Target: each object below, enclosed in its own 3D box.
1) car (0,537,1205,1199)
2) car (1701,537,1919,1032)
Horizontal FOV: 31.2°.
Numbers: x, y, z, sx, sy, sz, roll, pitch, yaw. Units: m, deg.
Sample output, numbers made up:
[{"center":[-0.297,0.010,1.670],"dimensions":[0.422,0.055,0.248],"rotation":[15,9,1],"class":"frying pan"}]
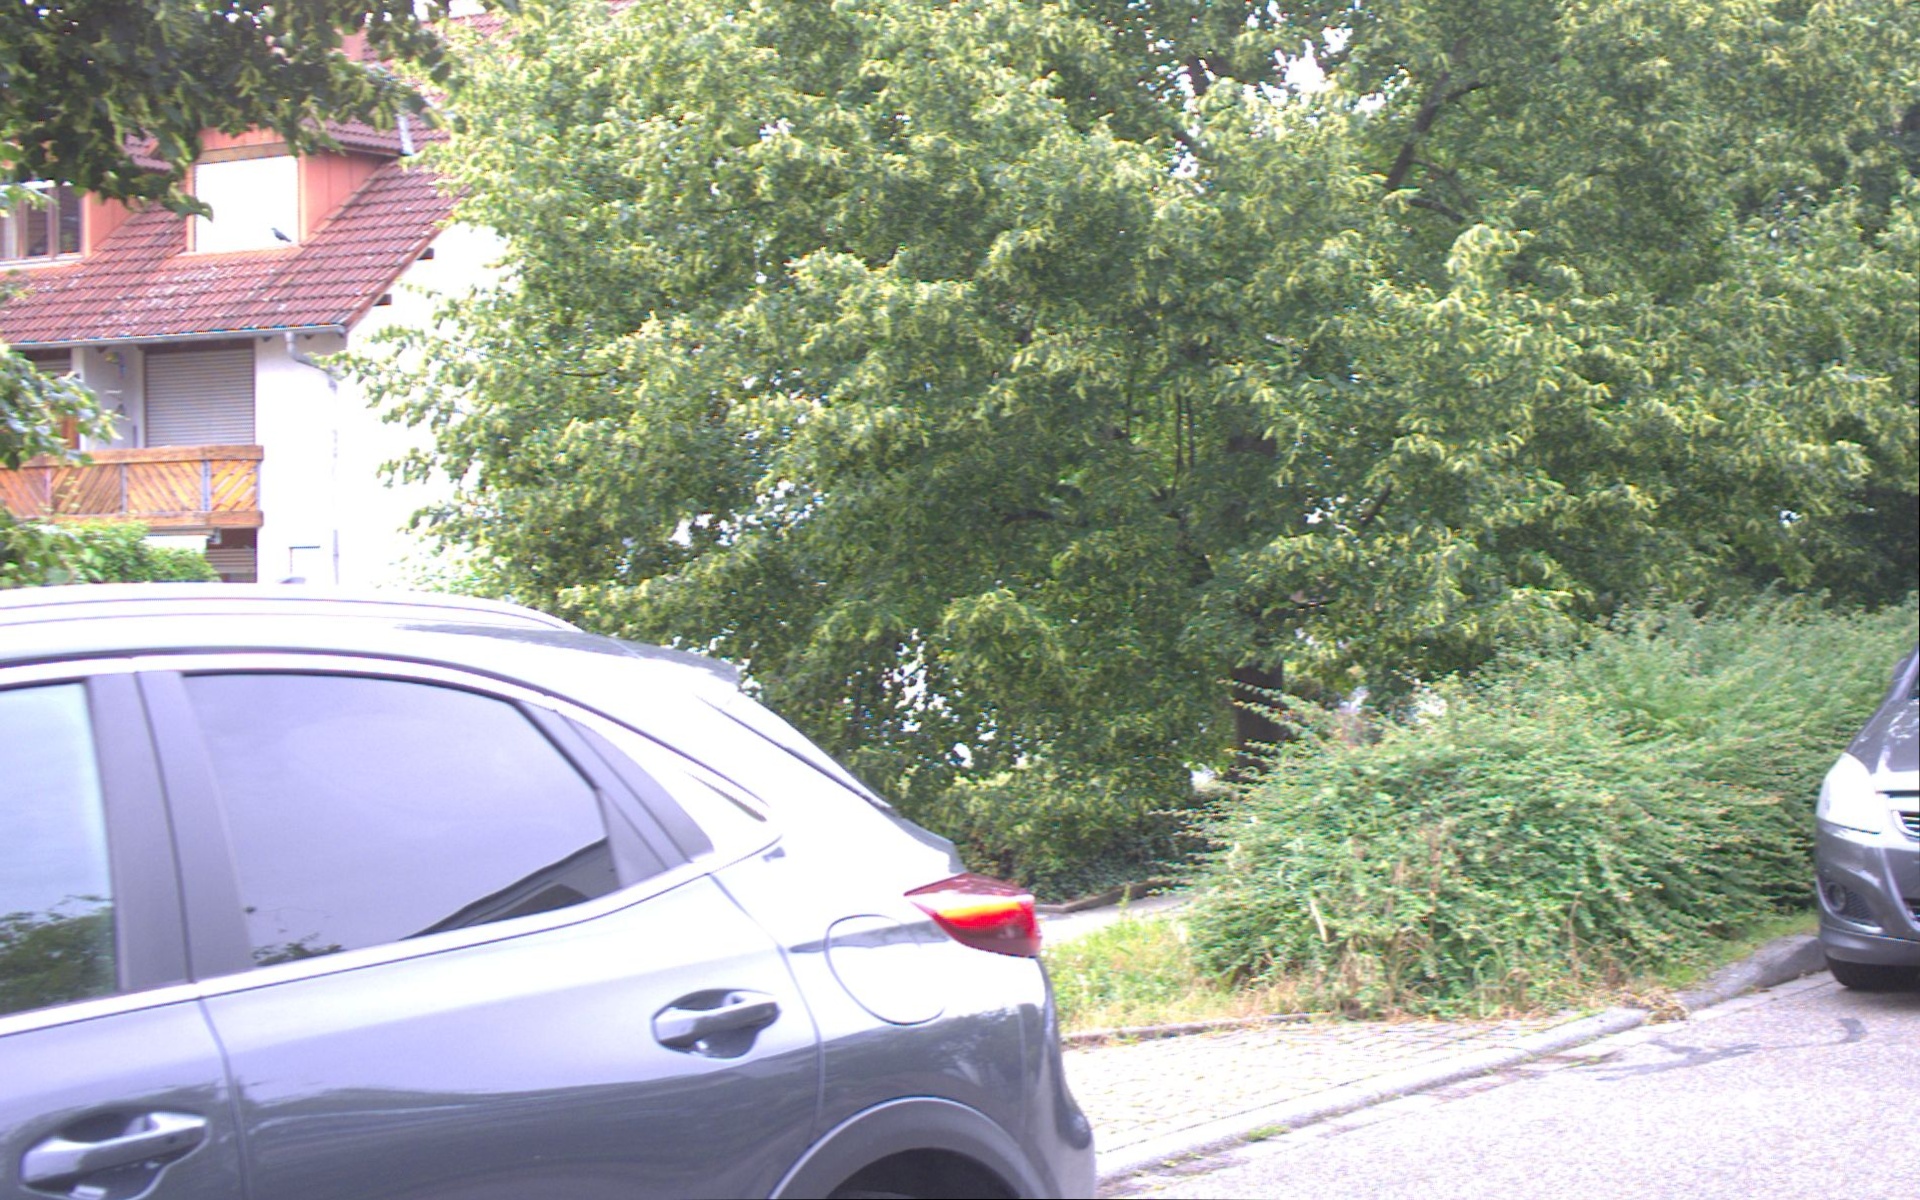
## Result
[{"center":[-1.599,0.743,3.751],"dimensions":[1.745,1.526,4.186],"rotation":[-2,0,36],"class":"car"},{"center":[4.501,0.540,12.788],"dimensions":[1.760,1.588,4.544],"rotation":[-3,0,34],"class":"car"}]
